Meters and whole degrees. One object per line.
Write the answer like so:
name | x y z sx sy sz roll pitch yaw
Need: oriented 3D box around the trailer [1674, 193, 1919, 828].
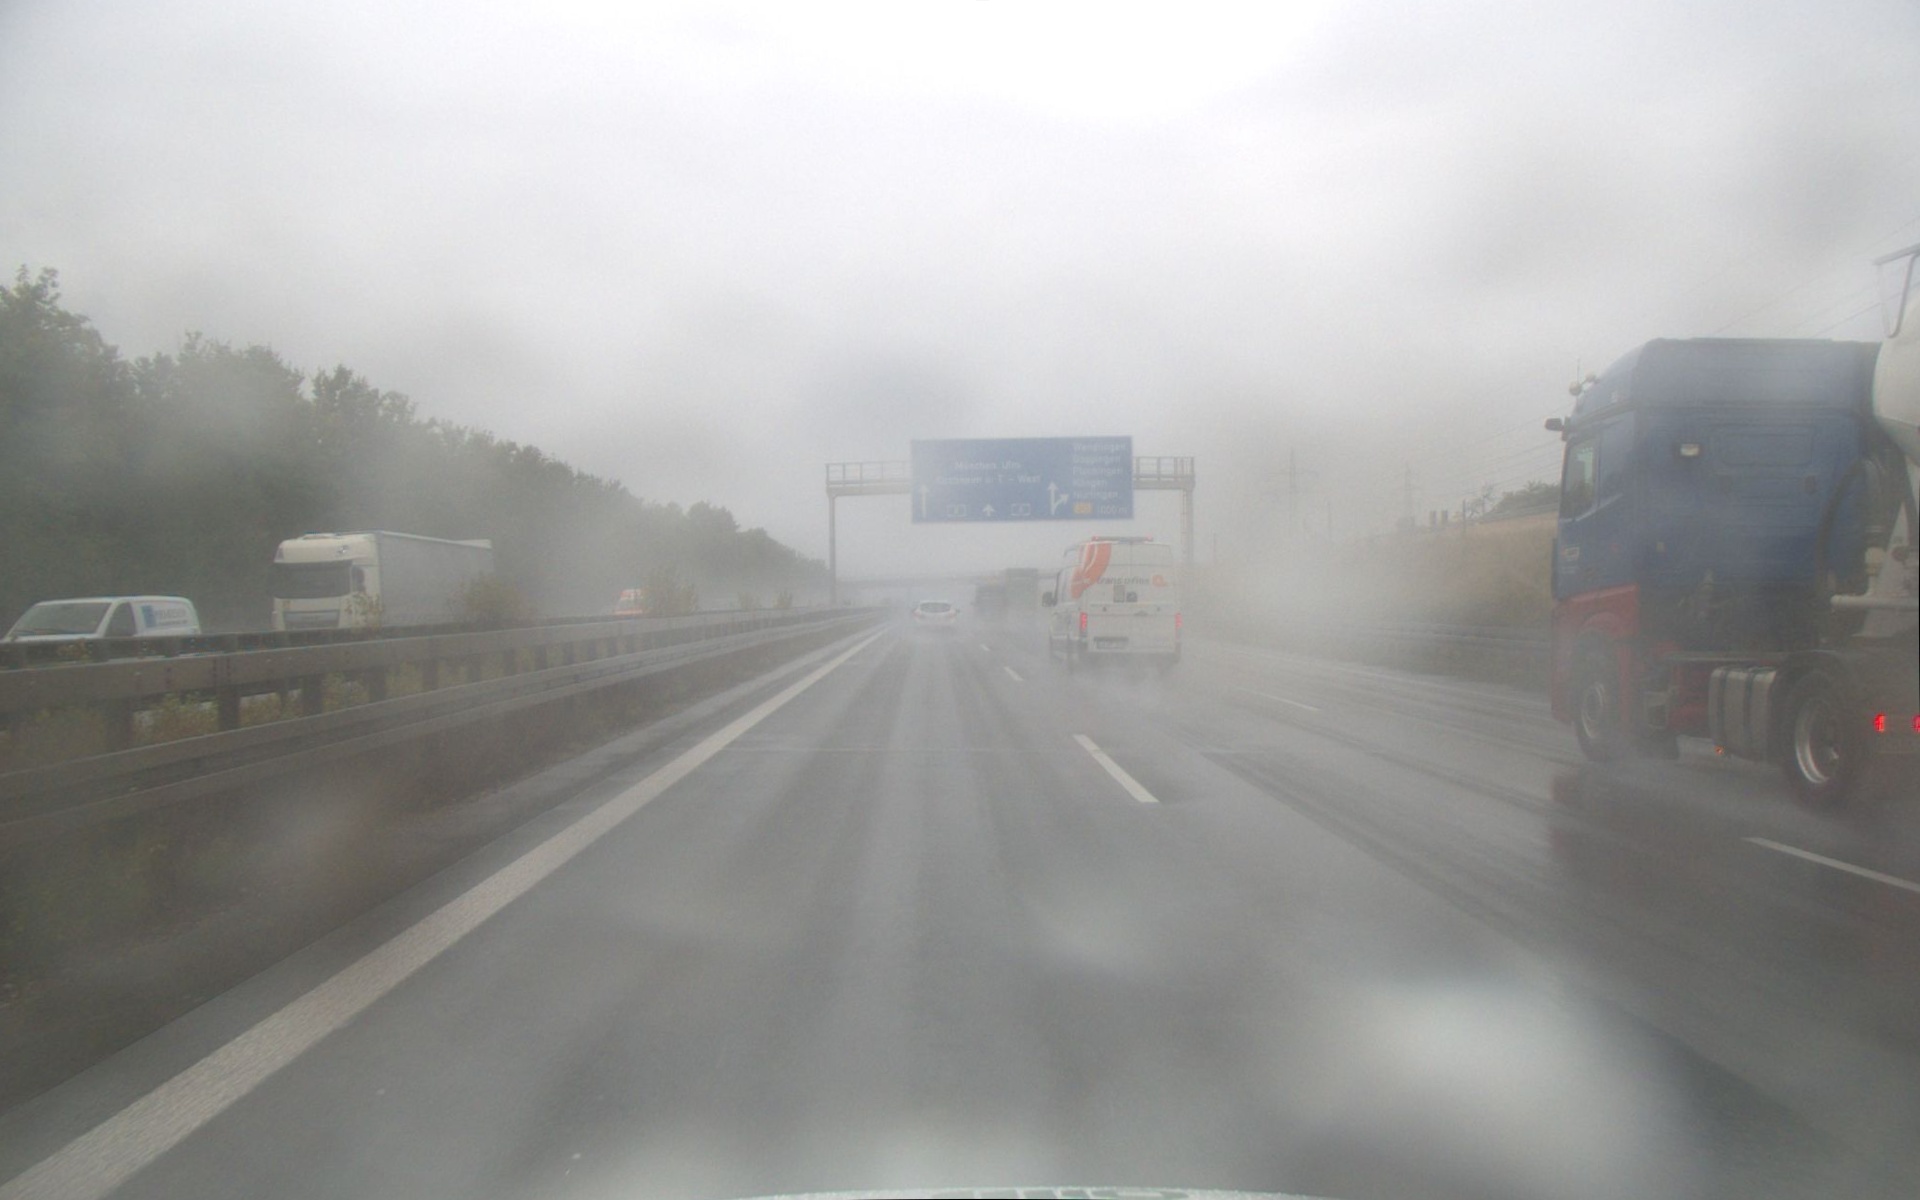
trailer | 7.251 -0.516 8.091 2.446 3.950 11.064 1 1 -1

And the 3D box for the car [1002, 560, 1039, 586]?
car | 4.927 -2.194 135.910 2.731 2.049 4.992 1 1 -1

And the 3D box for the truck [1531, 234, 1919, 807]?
truck | 7.113 -0.587 14.295 2.446 4.053 5.074 1 1 -2

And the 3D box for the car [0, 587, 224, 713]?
car | -15.631 0.823 30.432 1.890 2.049 5.401 1 1 -2

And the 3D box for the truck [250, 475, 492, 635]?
truck | -20.125 -1.477 58.302 2.906 4.756 17.094 1 1 -2

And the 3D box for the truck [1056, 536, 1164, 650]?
truck | 6.659 -0.289 76.406 2.978 4.668 16.344 1 0 -2

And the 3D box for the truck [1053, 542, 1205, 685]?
truck | 3.204 0.201 32.544 2.370 2.536 5.560 1 1 0
